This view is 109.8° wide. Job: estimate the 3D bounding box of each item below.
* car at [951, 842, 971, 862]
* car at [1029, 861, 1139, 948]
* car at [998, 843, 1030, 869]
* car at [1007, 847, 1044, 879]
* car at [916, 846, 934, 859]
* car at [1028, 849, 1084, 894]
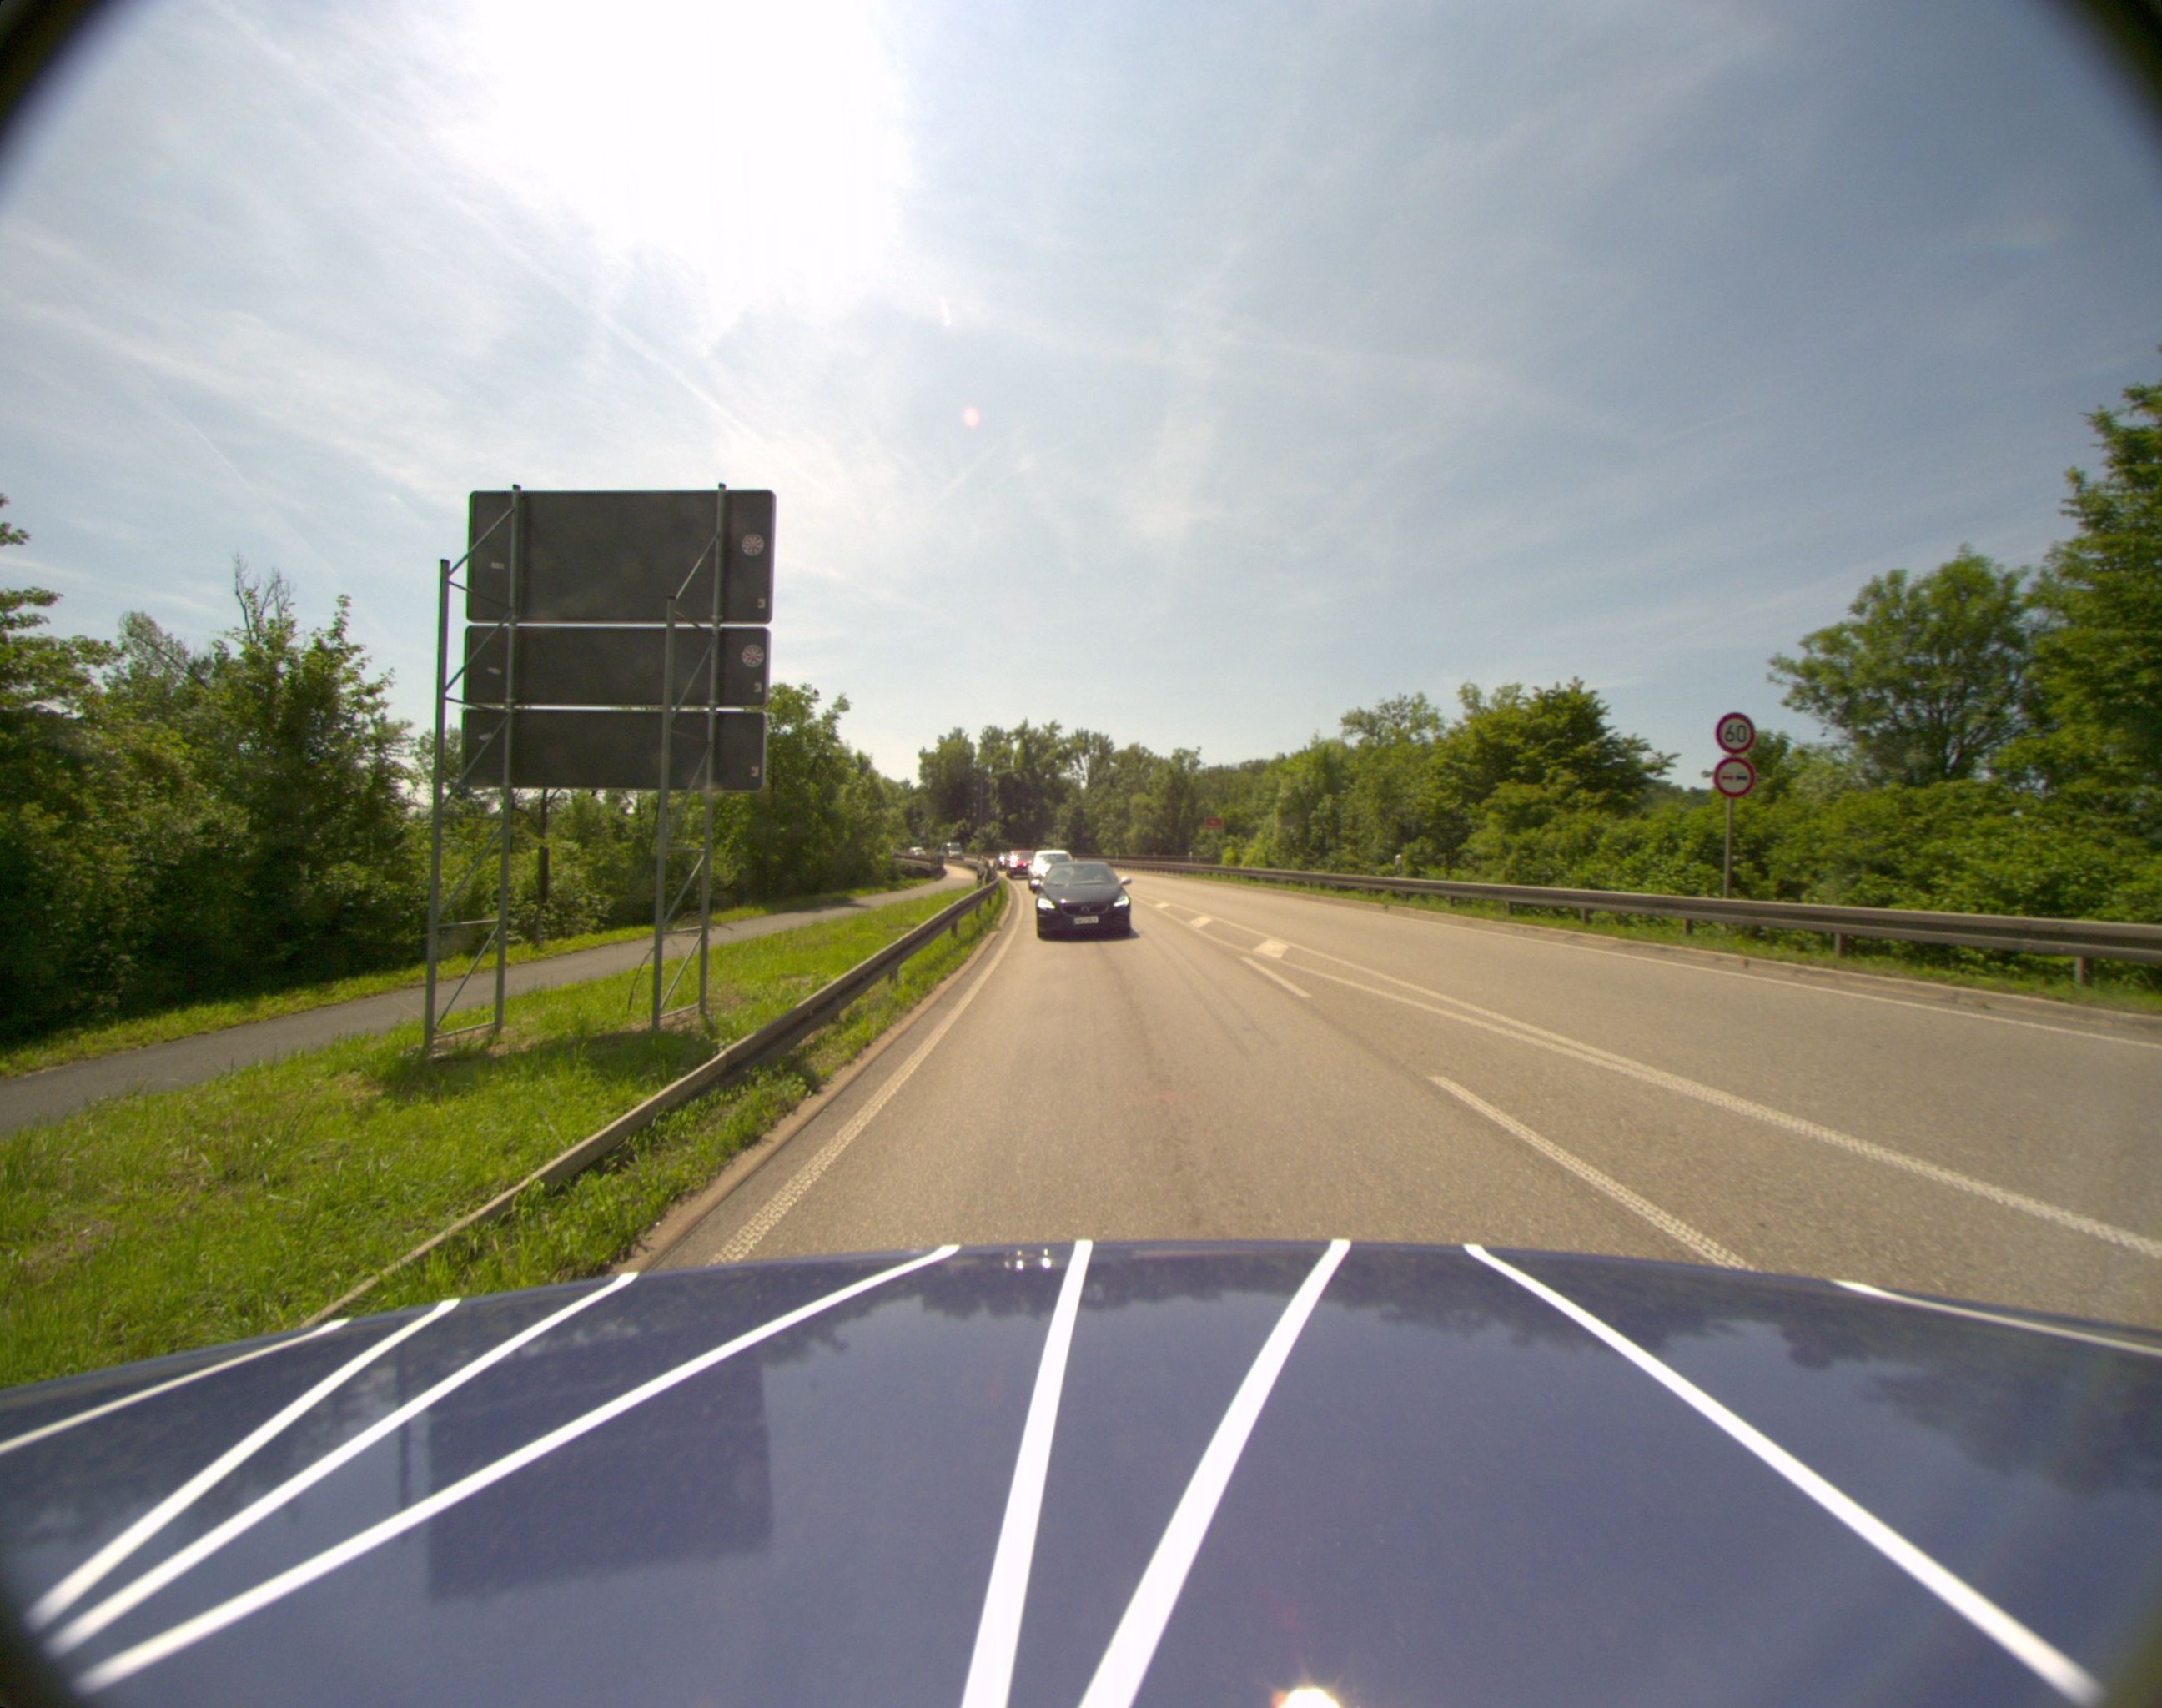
[{"bbox_3d":[-16.071,-0.281,101.689,2.001,2.471,4.851,-3,2,-16],"label":"car"},{"bbox_3d":[-0.058,0.917,15.445,1.910,1.413,3.949,-2,0,-4],"label":"car"},{"bbox_3d":[-5.676,0.120,63.542,2.001,2.002,3.994,-3,2,-14],"label":"car"},{"bbox_3d":[-3.359,0.510,45.439,2.000,1.765,3.997,-1,0,-7],"label":"car"},{"bbox_3d":[-25.155,-0.292,122.636,2.002,2.002,4.703,-3,2,-21],"label":"car"},{"bbox_3d":[-1.096,0.662,30.803,1.910,1.638,3.948,-2,0,-6],"label":"car"}]
